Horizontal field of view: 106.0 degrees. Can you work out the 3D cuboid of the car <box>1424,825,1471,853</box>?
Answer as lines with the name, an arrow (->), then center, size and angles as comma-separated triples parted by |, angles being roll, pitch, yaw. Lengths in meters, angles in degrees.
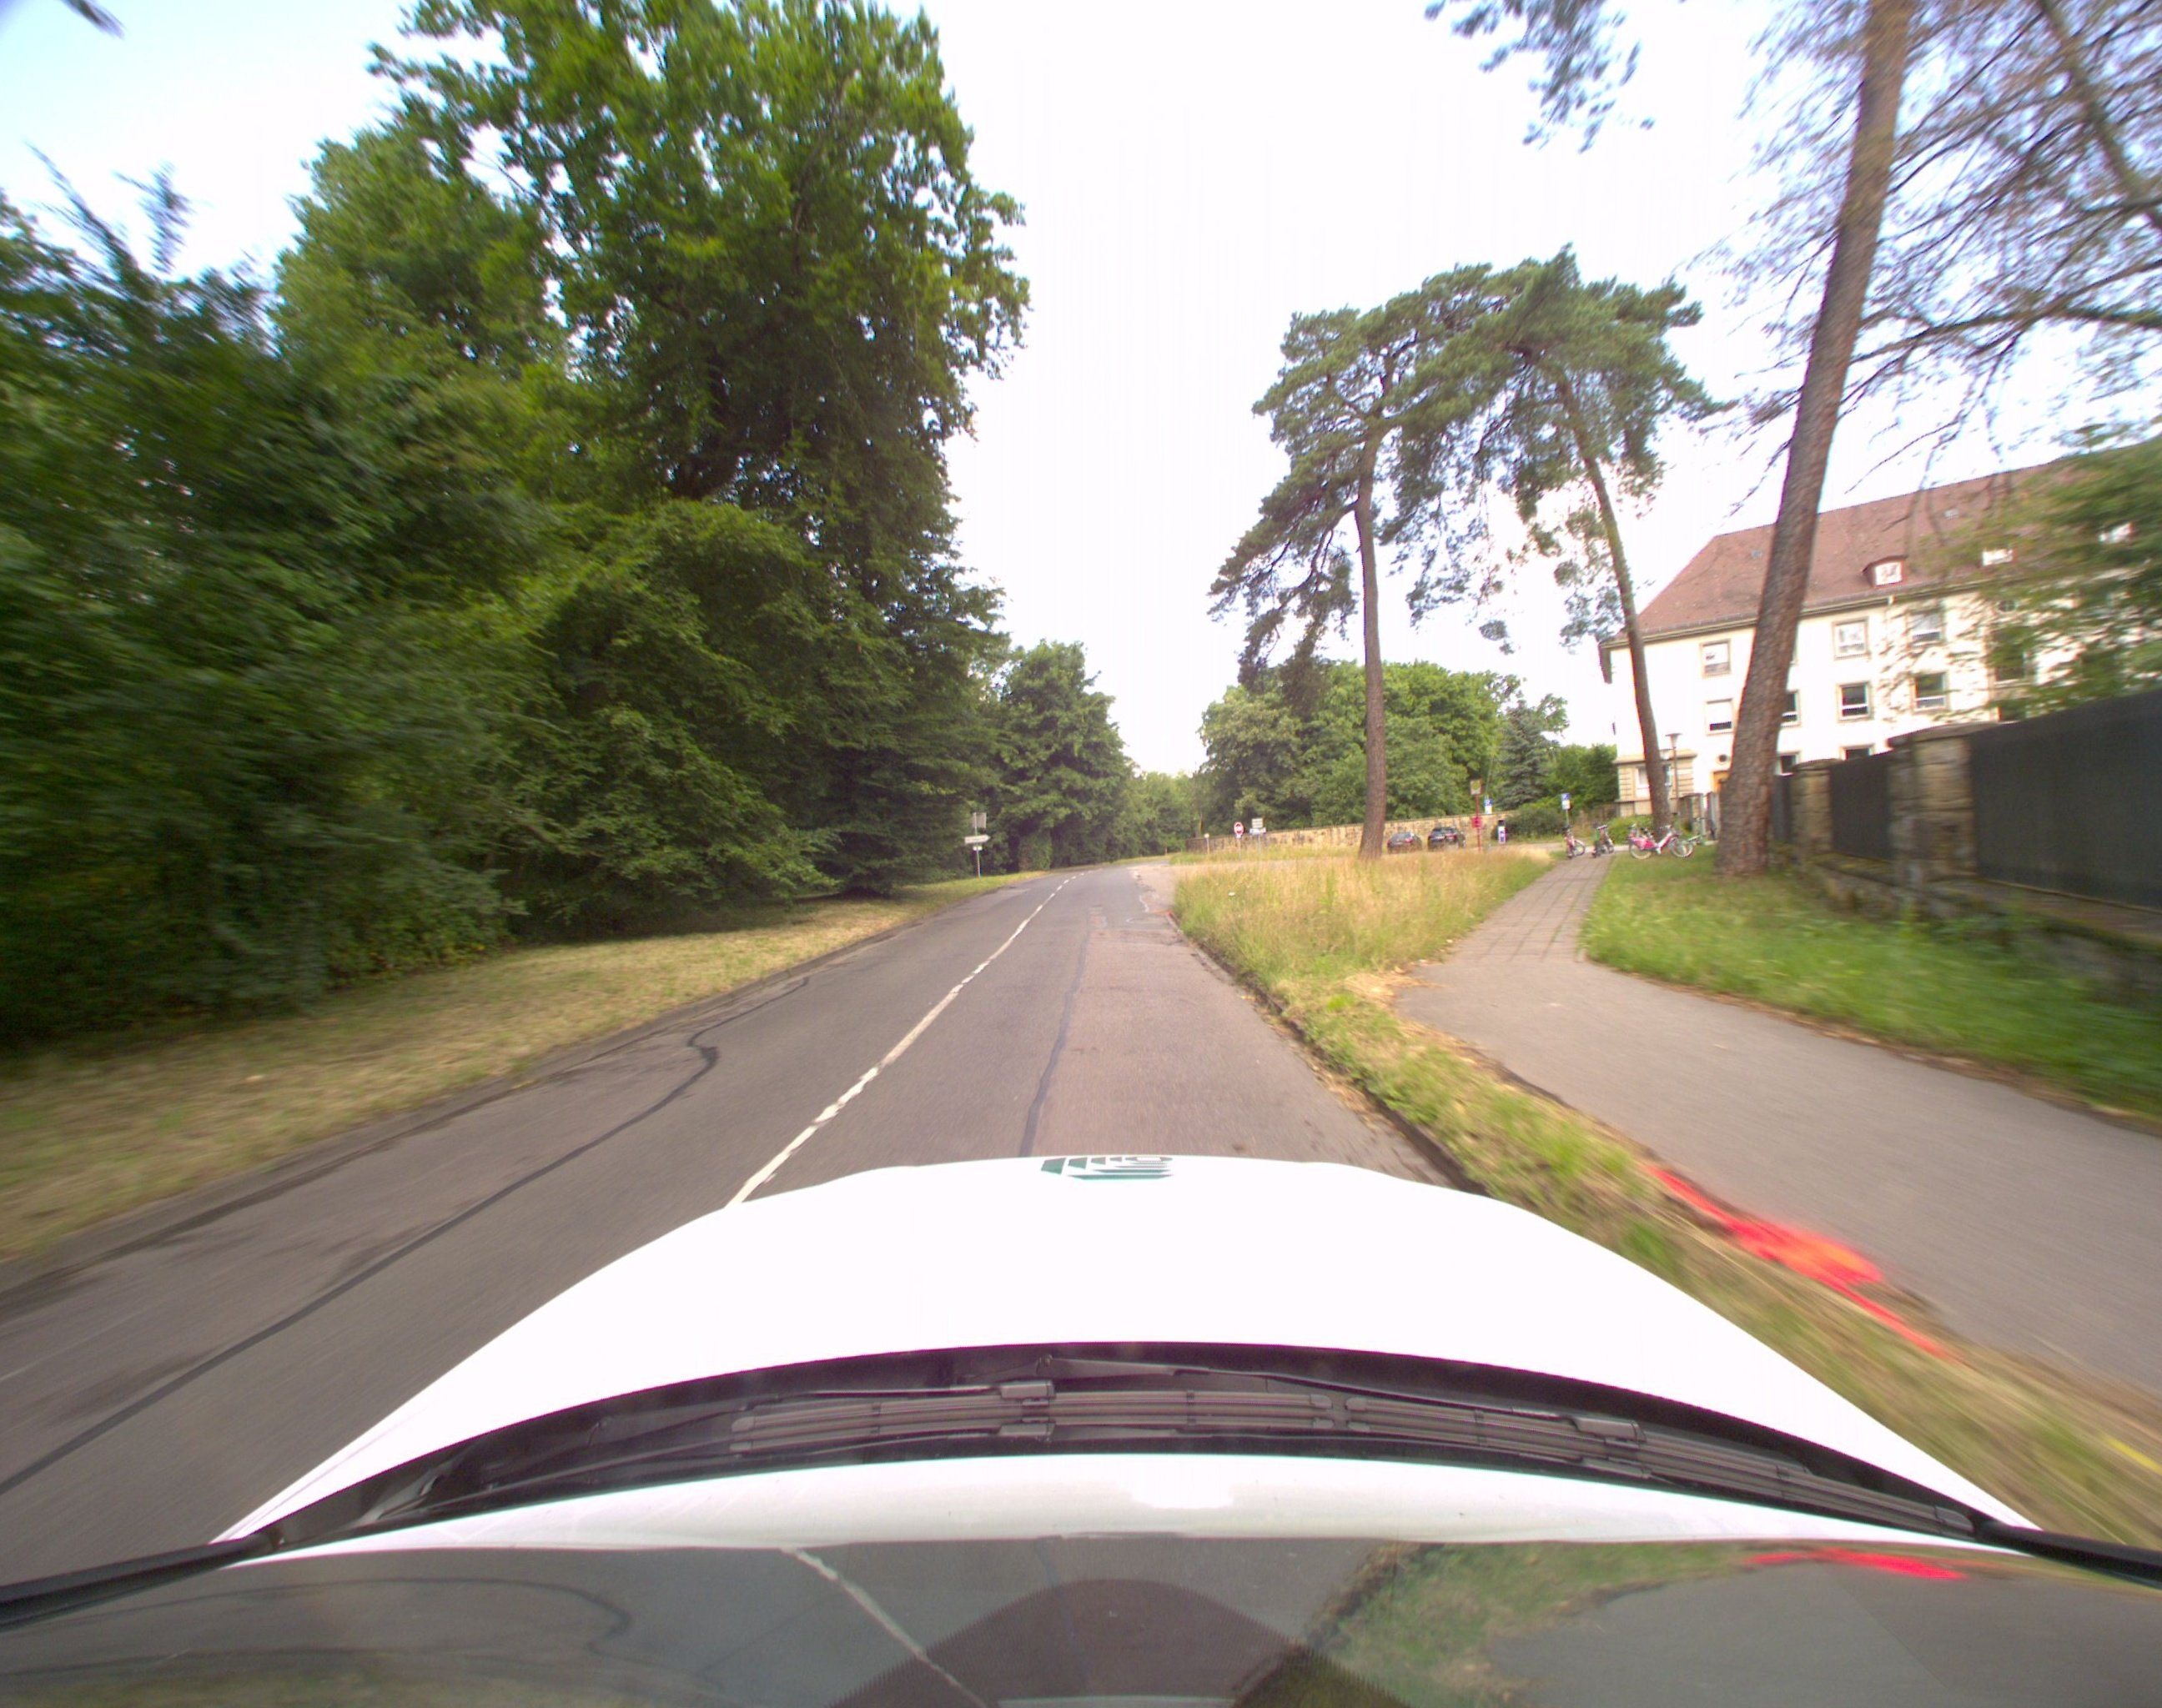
car -> 24.242, -1.002, 53.780 | 1.875, 1.546, 4.027 | -5, 1, 37

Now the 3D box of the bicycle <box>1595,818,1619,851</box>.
bicycle -> 20.810, -0.777, 32.236 | 0.627, 1.240, 2.188 | -5, -1, 30

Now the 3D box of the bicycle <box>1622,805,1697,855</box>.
bicycle -> 18.648, -0.769, 26.304 | 1.778, 1.417, 0.592 | -5, -1, 19

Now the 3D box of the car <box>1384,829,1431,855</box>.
car -> 22.425, -0.831, 55.860 | 1.855, 1.441, 4.027 | -5, 1, 37

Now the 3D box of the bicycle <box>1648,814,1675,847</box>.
bicycle -> 23.720, -0.956, 33.279 | 0.664, 1.277, 1.751 | -4, -2, 31

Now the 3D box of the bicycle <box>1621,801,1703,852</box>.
bicycle -> 18.347, -0.850, 25.758 | 1.960, 1.417, 0.581 | -5, -1, 19

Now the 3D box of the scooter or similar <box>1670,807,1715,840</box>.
scooter or similar -> 23.119, -1.152, 30.793 | 1.241, 1.150, 0.439 | -4, 0, 7

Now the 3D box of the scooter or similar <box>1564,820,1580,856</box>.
scooter or similar -> 17.666, -0.569, 29.307 | 0.433, 1.228, 1.097 | -3, -1, 30

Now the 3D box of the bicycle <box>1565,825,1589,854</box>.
bicycle -> 19.278, -0.564, 31.632 | 0.731, 1.084, 1.694 | -2, 0, 33

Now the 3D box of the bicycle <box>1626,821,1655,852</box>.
bicycle -> 21.917, -0.699, 31.909 | 1.620, 1.162, 0.615 | -3, 0, -45
